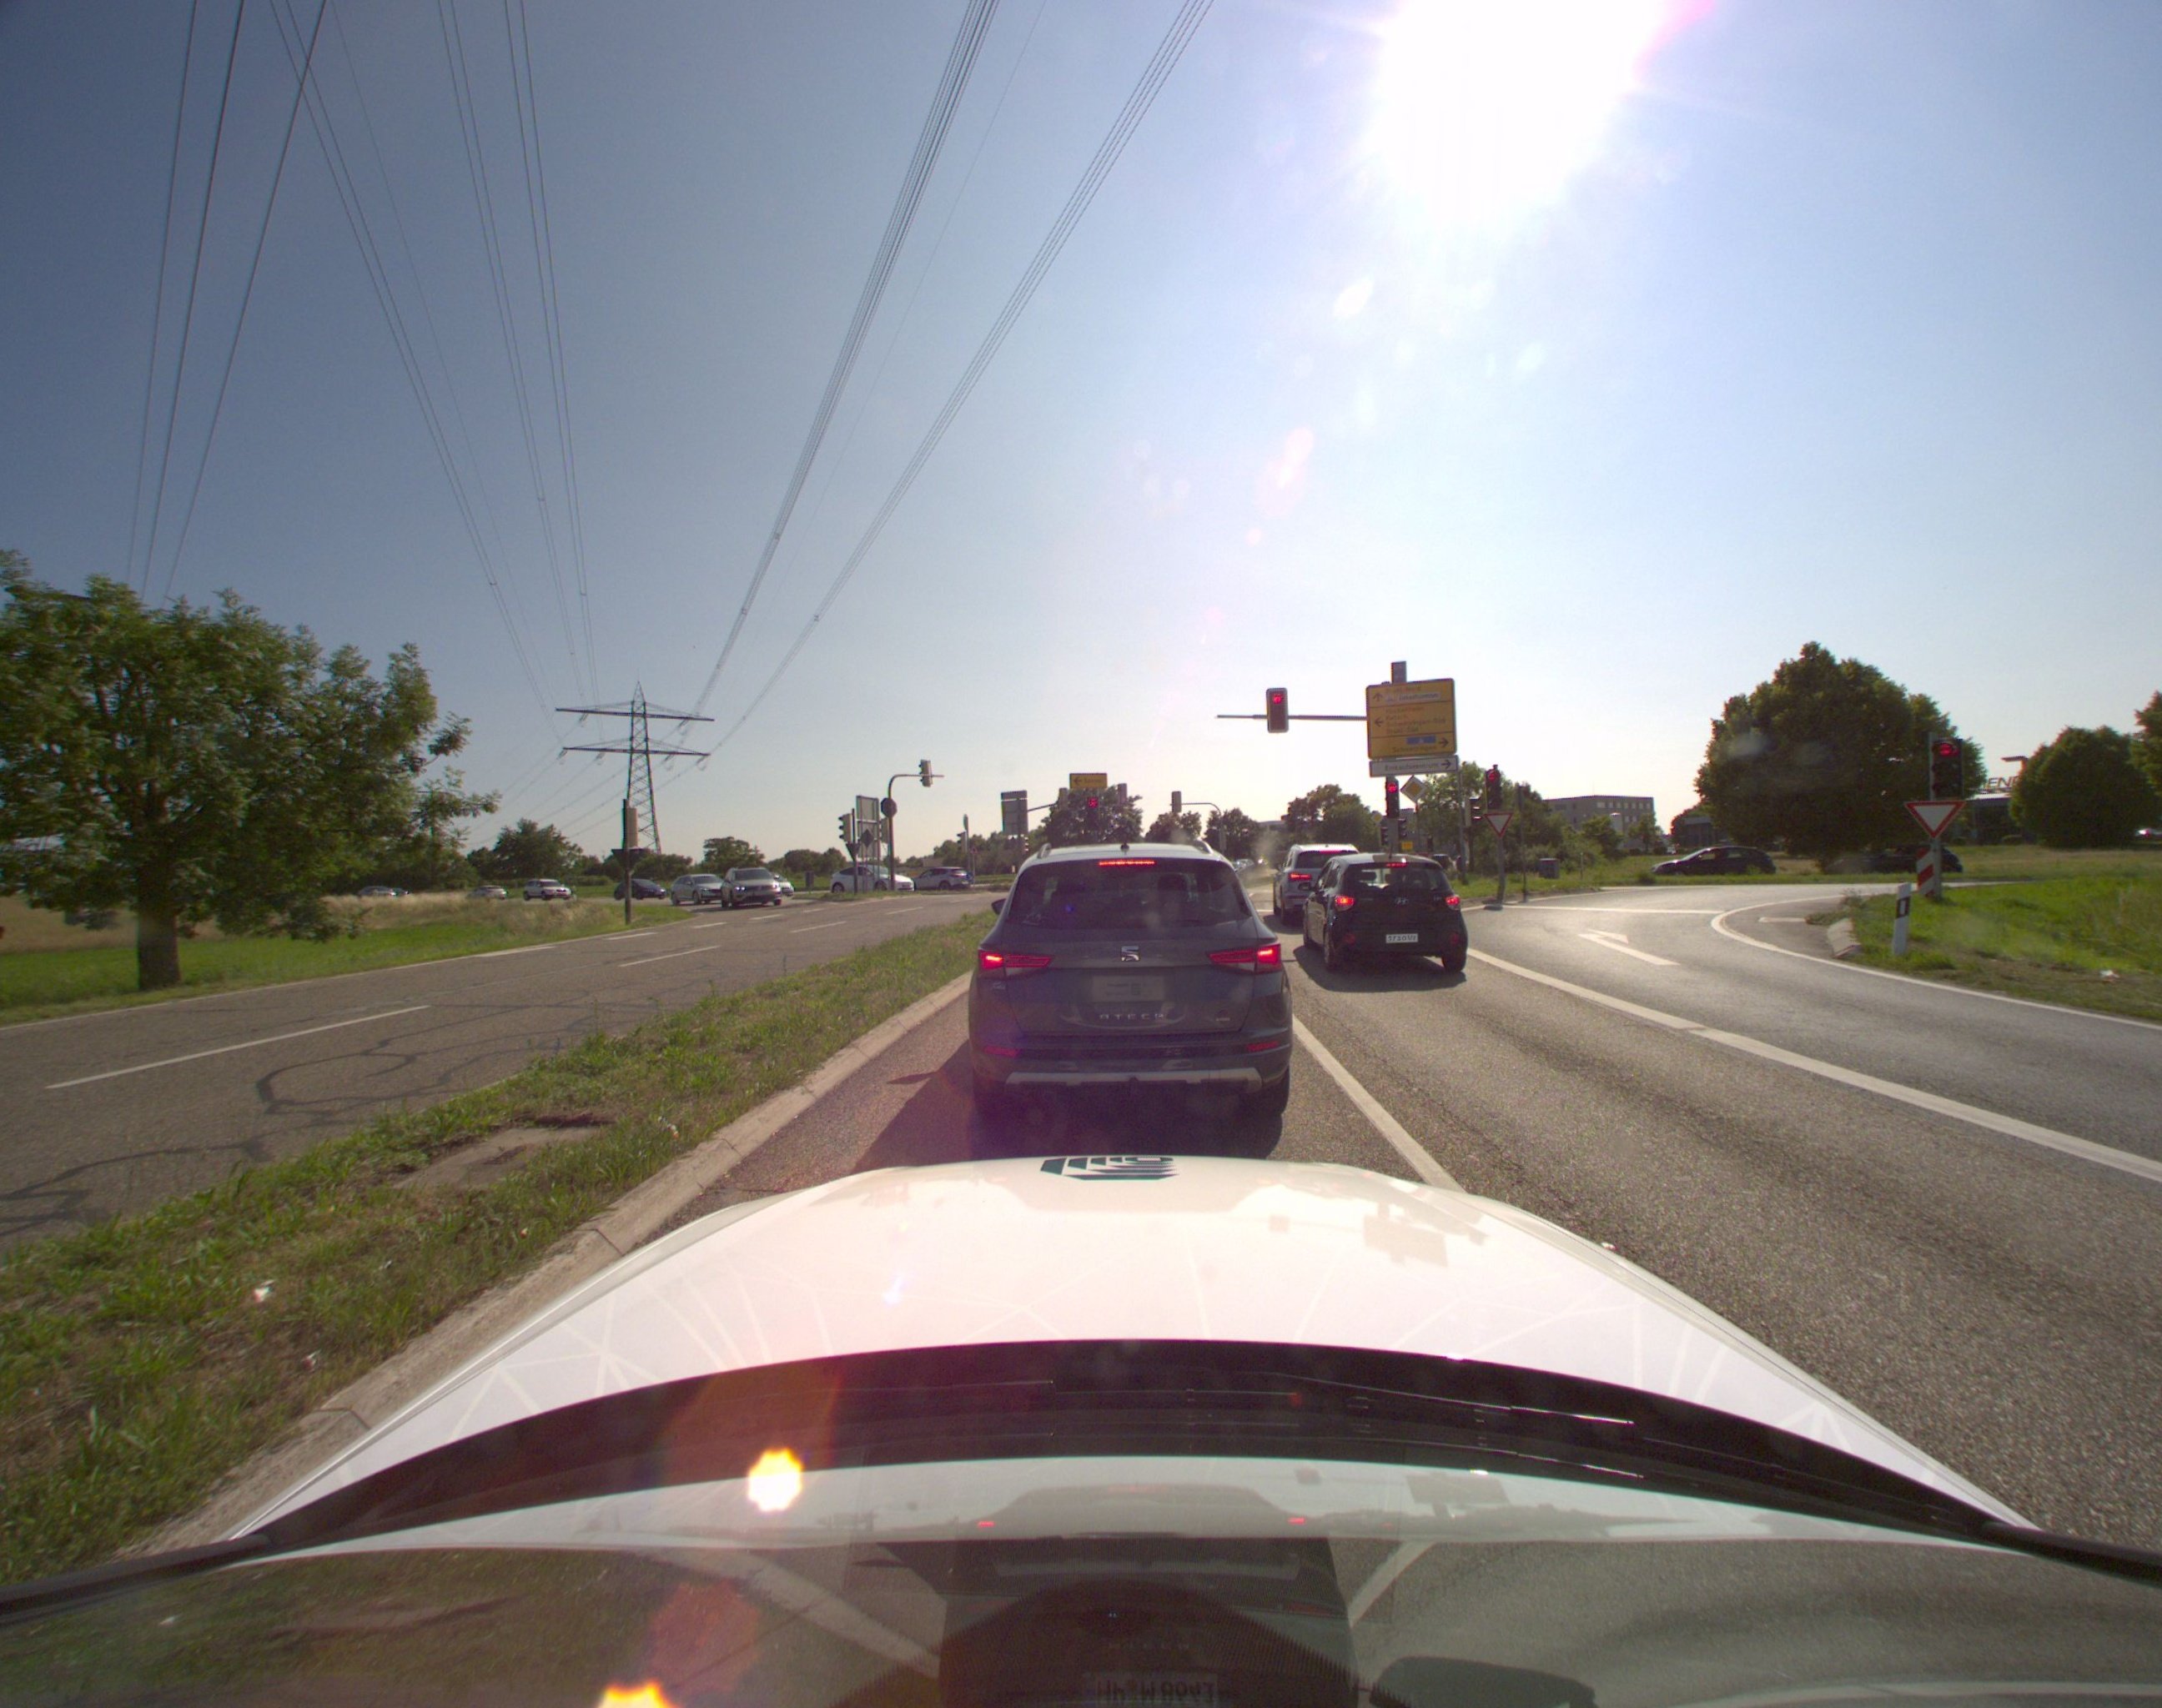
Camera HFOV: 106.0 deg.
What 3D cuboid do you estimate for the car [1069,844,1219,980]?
[{"bbox_3d":[0.818,0.692,11.252,1.735,1.569,3.626,0,-1,3],"label":"car"}]

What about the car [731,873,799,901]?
[{"bbox_3d":[-19.623,2.045,50.530,3.949,1.651,1.831,-2,-1,29],"label":"car"}]

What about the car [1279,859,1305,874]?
[{"bbox_3d":[23.927,1.393,92.100,1.859,1.673,3.793,0,-1,31],"label":"car"}]

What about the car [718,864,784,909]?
[{"bbox_3d":[-13.436,1.293,33.007,1.826,1.651,3.960,-1,-1,-31],"label":"car"}]

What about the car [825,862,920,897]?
[{"bbox_3d":[-10.651,1.297,41.505,4.700,1.651,1.831,-2,-1,29],"label":"car"}]

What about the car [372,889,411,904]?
[{"bbox_3d":[-73.951,4.552,87.311,3.831,1.519,1.818,-2,-1,27],"label":"car"}]

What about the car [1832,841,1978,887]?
[{"bbox_3d":[32.678,0.420,32.467,3.834,1.695,1.838,-2,-1,38],"label":"car"}]

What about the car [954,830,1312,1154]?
[{"bbox_3d":[0.309,0.685,5.774,1.735,1.569,3.625,0,-1,2],"label":"car"}]

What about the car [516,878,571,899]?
[{"bbox_3d":[-41.029,2.632,62.134,3.949,1.486,1.831,0,-1,28],"label":"car"}]

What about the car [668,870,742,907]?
[{"bbox_3d":[-18.318,1.653,39.608,3.949,1.651,1.831,-2,-1,42],"label":"car"}]

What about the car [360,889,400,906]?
[{"bbox_3d":[-67.875,4.186,78.882,3.948,1.486,1.832,0,-1,32],"label":"car"}]

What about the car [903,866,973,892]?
[{"bbox_3d":[-8.976,1.576,50.999,3.986,1.519,1.818,-2,-1,27],"label":"car"}]

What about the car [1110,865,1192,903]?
[{"bbox_3d":[3.712,1.604,43.312,3.969,1.953,1.706,-2,-1,29],"label":"car"}]

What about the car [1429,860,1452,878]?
[{"bbox_3d":[35.837,1.460,81.085,1.859,1.673,3.792,0,-1,27],"label":"car"}]

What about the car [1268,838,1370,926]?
[{"bbox_3d":[5.013,0.552,17.574,1.623,1.677,3.758,-1,0,9],"label":"car"}]

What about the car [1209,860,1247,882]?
[{"bbox_3d":[11.569,1.336,63.782,1.859,1.673,3.792,0,-1,28],"label":"car"}]

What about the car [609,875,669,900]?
[{"bbox_3d":[-30.735,2.341,56.574,3.949,1.651,1.831,-2,-1,29],"label":"car"}]

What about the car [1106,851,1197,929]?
[{"bbox_3d":[1.569,0.706,17.359,1.732,1.484,3.631,0,-1,7],"label":"car"}]

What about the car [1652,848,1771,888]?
[{"bbox_3d":[24.622,0.528,31.924,3.500,1.516,1.471,0,-1,29],"label":"car"}]

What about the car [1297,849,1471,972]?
[{"bbox_3d":[4.044,0.676,11.363,1.623,1.448,3.303,-1,0,9],"label":"car"}]

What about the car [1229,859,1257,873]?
[{"bbox_3d":[17.638,1.268,88.516,1.701,1.497,3.794,0,-1,34],"label":"car"}]

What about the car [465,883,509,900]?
[{"bbox_3d":[-56.699,3.571,77.696,3.831,1.519,1.818,-2,-1,27],"label":"car"}]
